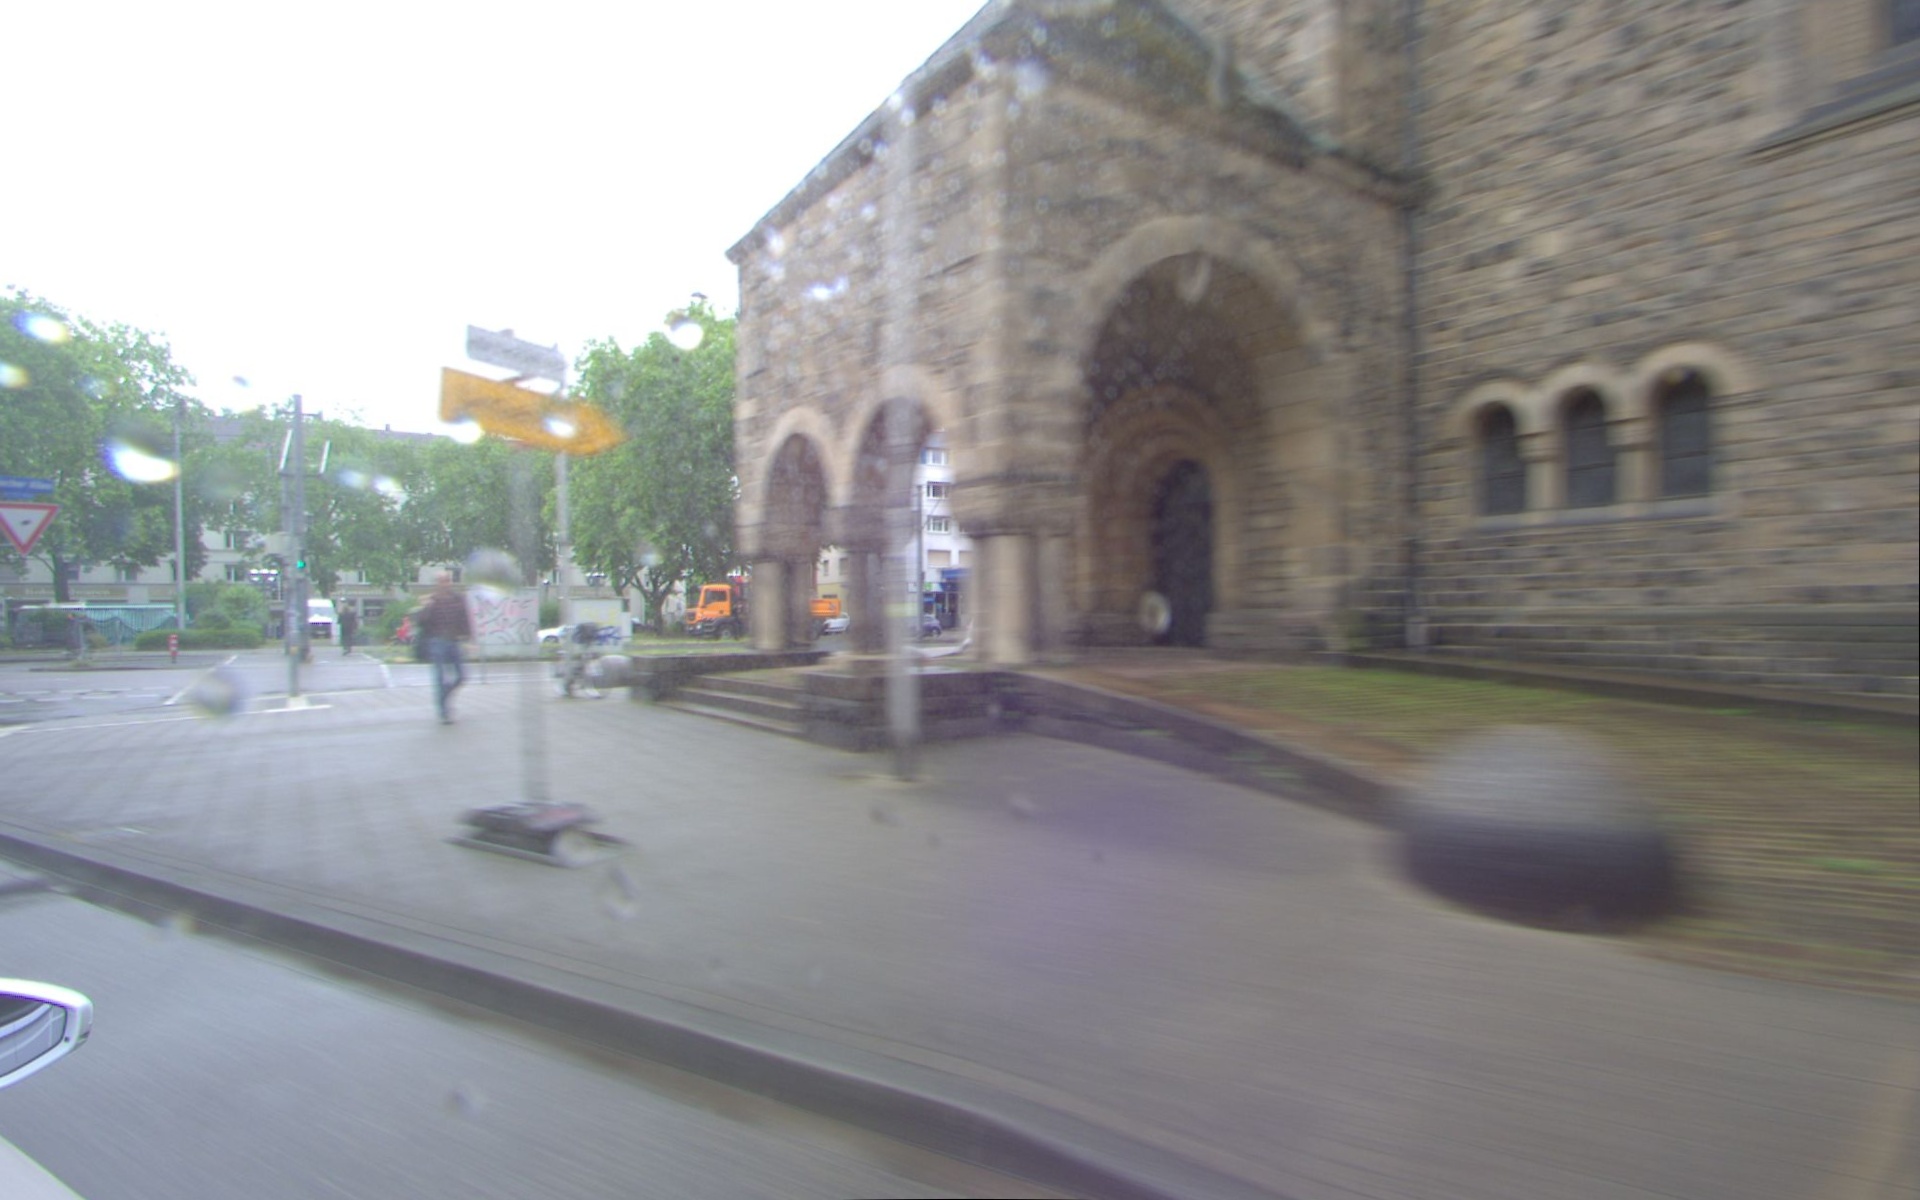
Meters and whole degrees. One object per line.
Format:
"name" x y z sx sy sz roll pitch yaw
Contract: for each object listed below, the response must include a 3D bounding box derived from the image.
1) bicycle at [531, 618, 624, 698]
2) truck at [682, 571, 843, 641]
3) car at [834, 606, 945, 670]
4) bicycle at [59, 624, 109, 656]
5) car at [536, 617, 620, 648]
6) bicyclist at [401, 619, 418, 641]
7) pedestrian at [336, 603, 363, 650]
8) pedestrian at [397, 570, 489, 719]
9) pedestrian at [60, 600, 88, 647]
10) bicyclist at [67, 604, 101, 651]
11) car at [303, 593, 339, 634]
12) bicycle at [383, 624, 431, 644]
"bicycle" -5.909 0.861 15.410 2.049 1.169 0.327 -1 0 38
"truck" -10.608 0.301 54.294 8.327 3.571 2.361 0 0 -34
"car" -1.816 0.906 25.130 1.388 1.498 3.201 0 0 -33
"bicycle" -31.359 1.412 35.890 0.683 1.035 2.646 -1 1 -27
"car" -18.613 1.543 48.869 3.526 1.405 1.617 -1 0 -36
"bicyclist" -26.164 1.416 47.616 0.672 1.039 0.556 -1 0 -34
"pedestrian" -21.860 0.933 35.831 0.775 1.667 0.651 -1 1 -33
"pedestrian" -6.480 0.532 12.552 0.780 1.783 0.936 -2 1 -42
"pedestrian" -38.868 1.019 43.925 0.796 2.040 0.586 -1 1 -31
"bicyclist" -31.323 0.959 35.804 0.678 1.639 0.880 -1 1 -27
"car" -42.353 0.890 66.330 1.887 2.589 4.757 -1 0 -33
"bicycle" -26.264 1.604 47.558 1.947 0.923 0.556 0 0 -34
